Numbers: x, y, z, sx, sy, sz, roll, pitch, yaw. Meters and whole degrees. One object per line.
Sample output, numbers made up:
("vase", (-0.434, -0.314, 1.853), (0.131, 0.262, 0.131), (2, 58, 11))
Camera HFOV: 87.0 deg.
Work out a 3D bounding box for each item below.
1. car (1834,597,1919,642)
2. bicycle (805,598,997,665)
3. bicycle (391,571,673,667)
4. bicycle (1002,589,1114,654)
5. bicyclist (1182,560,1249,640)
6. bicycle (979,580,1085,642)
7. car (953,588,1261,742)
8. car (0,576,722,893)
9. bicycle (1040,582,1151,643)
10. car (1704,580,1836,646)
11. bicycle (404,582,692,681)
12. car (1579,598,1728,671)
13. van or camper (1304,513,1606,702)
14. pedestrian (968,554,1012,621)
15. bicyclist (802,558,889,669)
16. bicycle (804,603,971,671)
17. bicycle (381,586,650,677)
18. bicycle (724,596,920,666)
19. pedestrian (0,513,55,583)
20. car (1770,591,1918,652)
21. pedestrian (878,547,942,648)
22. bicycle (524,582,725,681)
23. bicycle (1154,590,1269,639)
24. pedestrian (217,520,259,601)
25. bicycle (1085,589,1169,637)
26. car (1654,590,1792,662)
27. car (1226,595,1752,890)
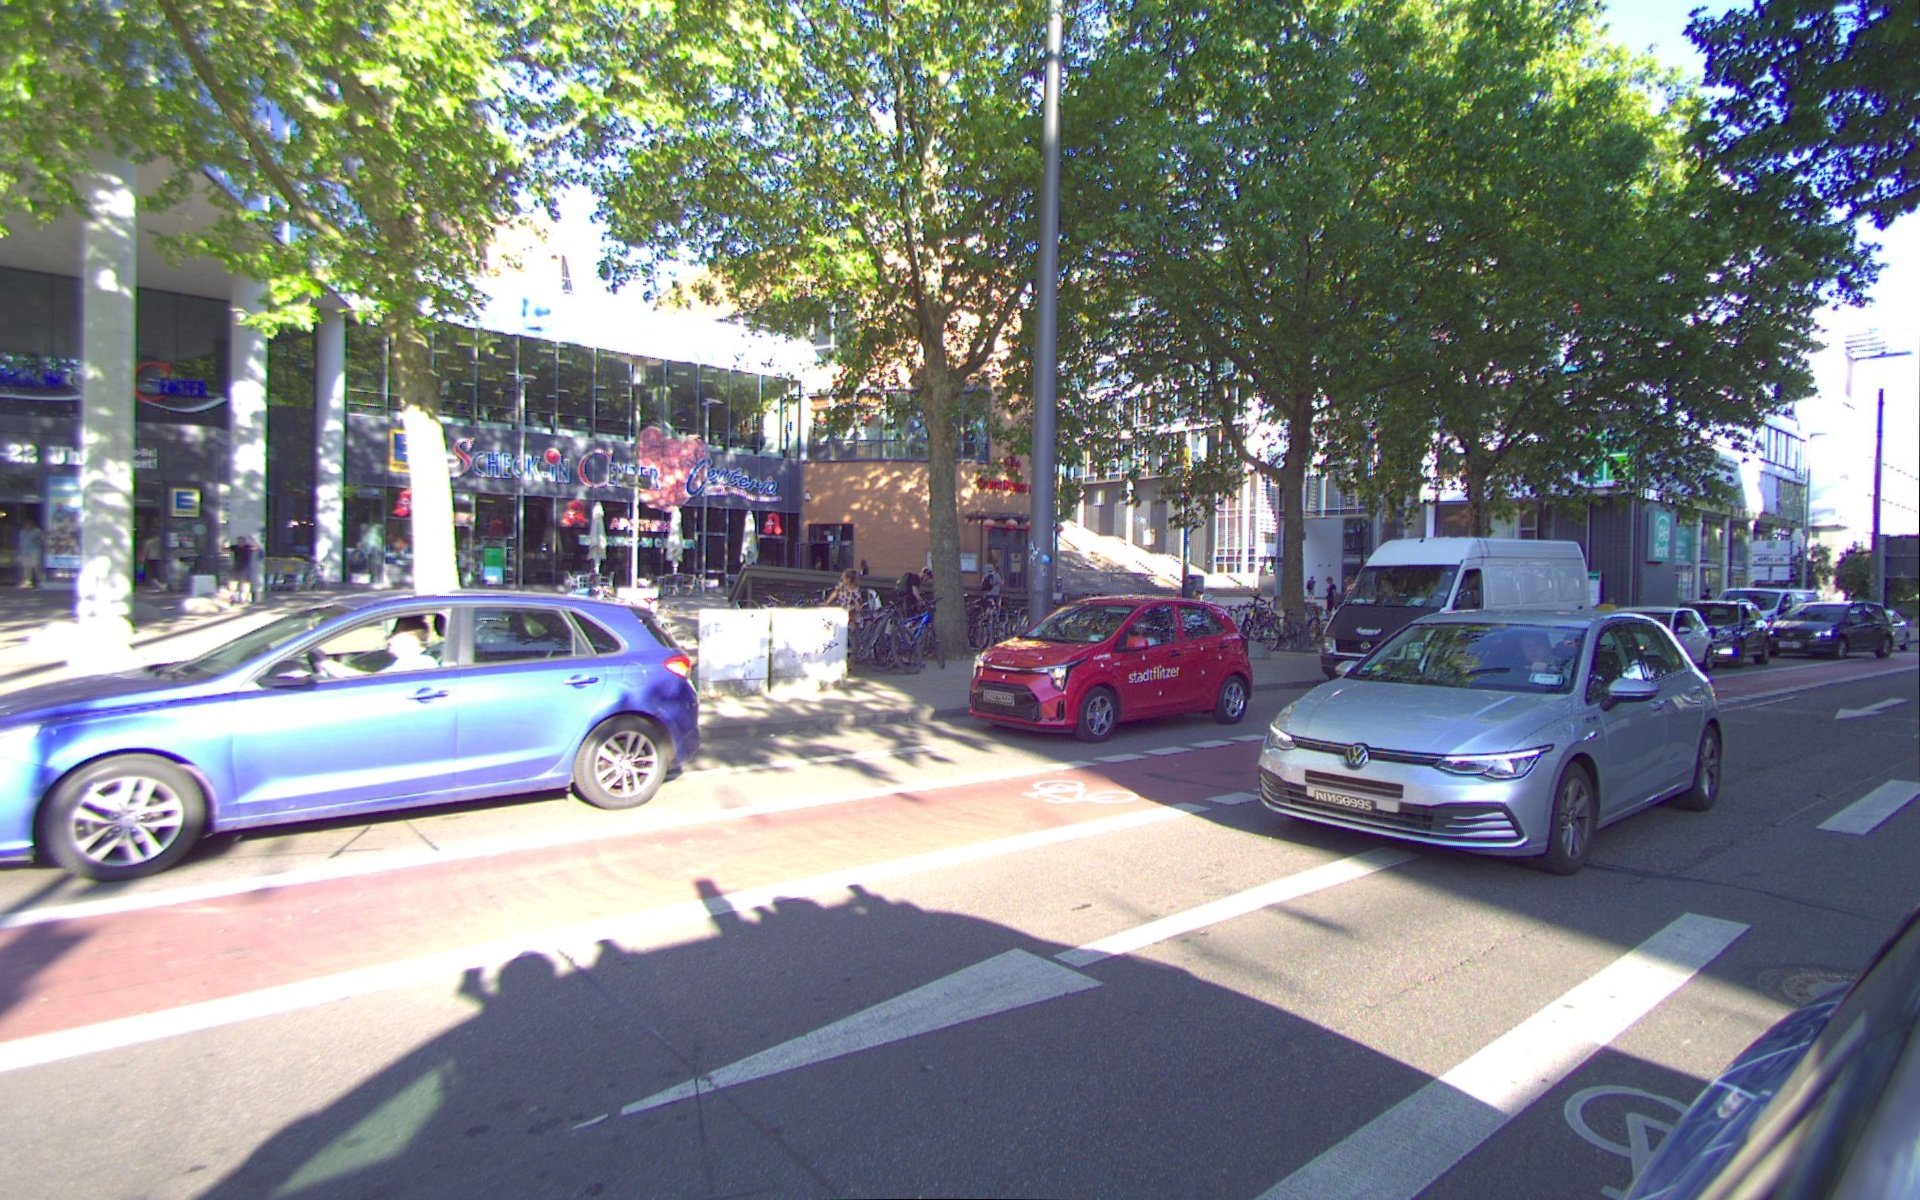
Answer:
("car", (33.105, 0.675, 36.275), (4.117, 1.508, 1.836), (0, 0, -36))
("bicycle", (-0.943, 0.488, 17.367), (3.352, 1.014, 1.050), (-1, 0, -41))
("bicycle", (-6.259, 0.328, 15.078), (3.744, 1.236, 0.729), (4, -2, -37))
("bicycle", (1.936, 0.389, 19.748), (2.355, 1.177, 0.750), (-1, 0, -40))
("bicyclist", (6.680, -0.027, 26.532), (1.133, 2.039, 1.301), (0, 1, -25))
("bicycle", (1.472, 0.201, 20.339), (2.263, 1.177, 0.671), (-1, 0, -39))
("car", (1.751, 0.616, 11.438), (3.533, 1.478, 1.493), (0, 0, -41))
("car", (-3.818, 0.616, 6.513), (4.140, 1.478, 1.750), (0, 0, -42))
("bicycle", (2.580, 0.211, 19.058), (2.295, 1.073, 0.682), (-1, 1, -39))
("car", (26.325, 0.384, 32.794), (5.808, 1.989, 1.934), (0, 0, -37))
("bicycle", (-5.791, 0.388, 14.504), (3.744, 1.236, 0.758), (-2, 1, -35))
("car", (15.286, 0.689, 22.243), (3.914, 1.446, 1.639), (0, 0, -38))
("van or camper", (8.469, 0.080, 16.951), (6.380, 2.647, 2.005), (0, 1, -39))
("pedestrian", (0.927, -0.395, 31.343), (0.995, 2.039, 1.015), (0, 0, -29))
("bicyclist", (-1.768, 0.195, 15.581), (1.005, 1.641, 0.902), (0, 0, -41))
("bicycle", (-1.095, 0.537, 15.917), (2.591, 0.960, 0.924), (-1, 0, -41))
("bicycle", (-6.821, 0.425, 15.751), (3.745, 1.236, 0.793), (-2, 1, -36))
("bicycle", (-2.352, 0.492, 17.723), (3.352, 1.013, 1.051), (-1, 6, -41))
("pedestrian", (-26.194, -1.458, 28.402), (0.857, 1.912, 0.813), (1, 2, 2))
("car", (25.383, 0.574, 29.039), (4.300, 1.656, 1.714), (0, 0, -27))
("pedestrian", (-1.034, -0.070, 21.124), (0.922, 2.039, 1.085), (2, 1, 24))
("bicycle", (-4.565, 0.384, 13.899), (2.504, 1.236, 0.758), (-2, 1, -35))
("bicycle", (6.578, 0.350, 26.766), (1.124, 1.097, 3.342), (0, 2, -23))
("pedestrian", (-18.724, -1.006, 26.273), (0.843, 2.039, 1.024), (0, 0, -34))
("bicycle", (4.499, 0.319, 27.117), (2.653, 1.215, 0.698), (-1, 1, -41))
("car", (19.057, 0.587, 25.229), (4.172, 1.656, 1.769), (0, 0, -38))
("car", (3.747, 0.723, 6.897), (3.927, 1.436, 1.752), (1, 0, -39))
